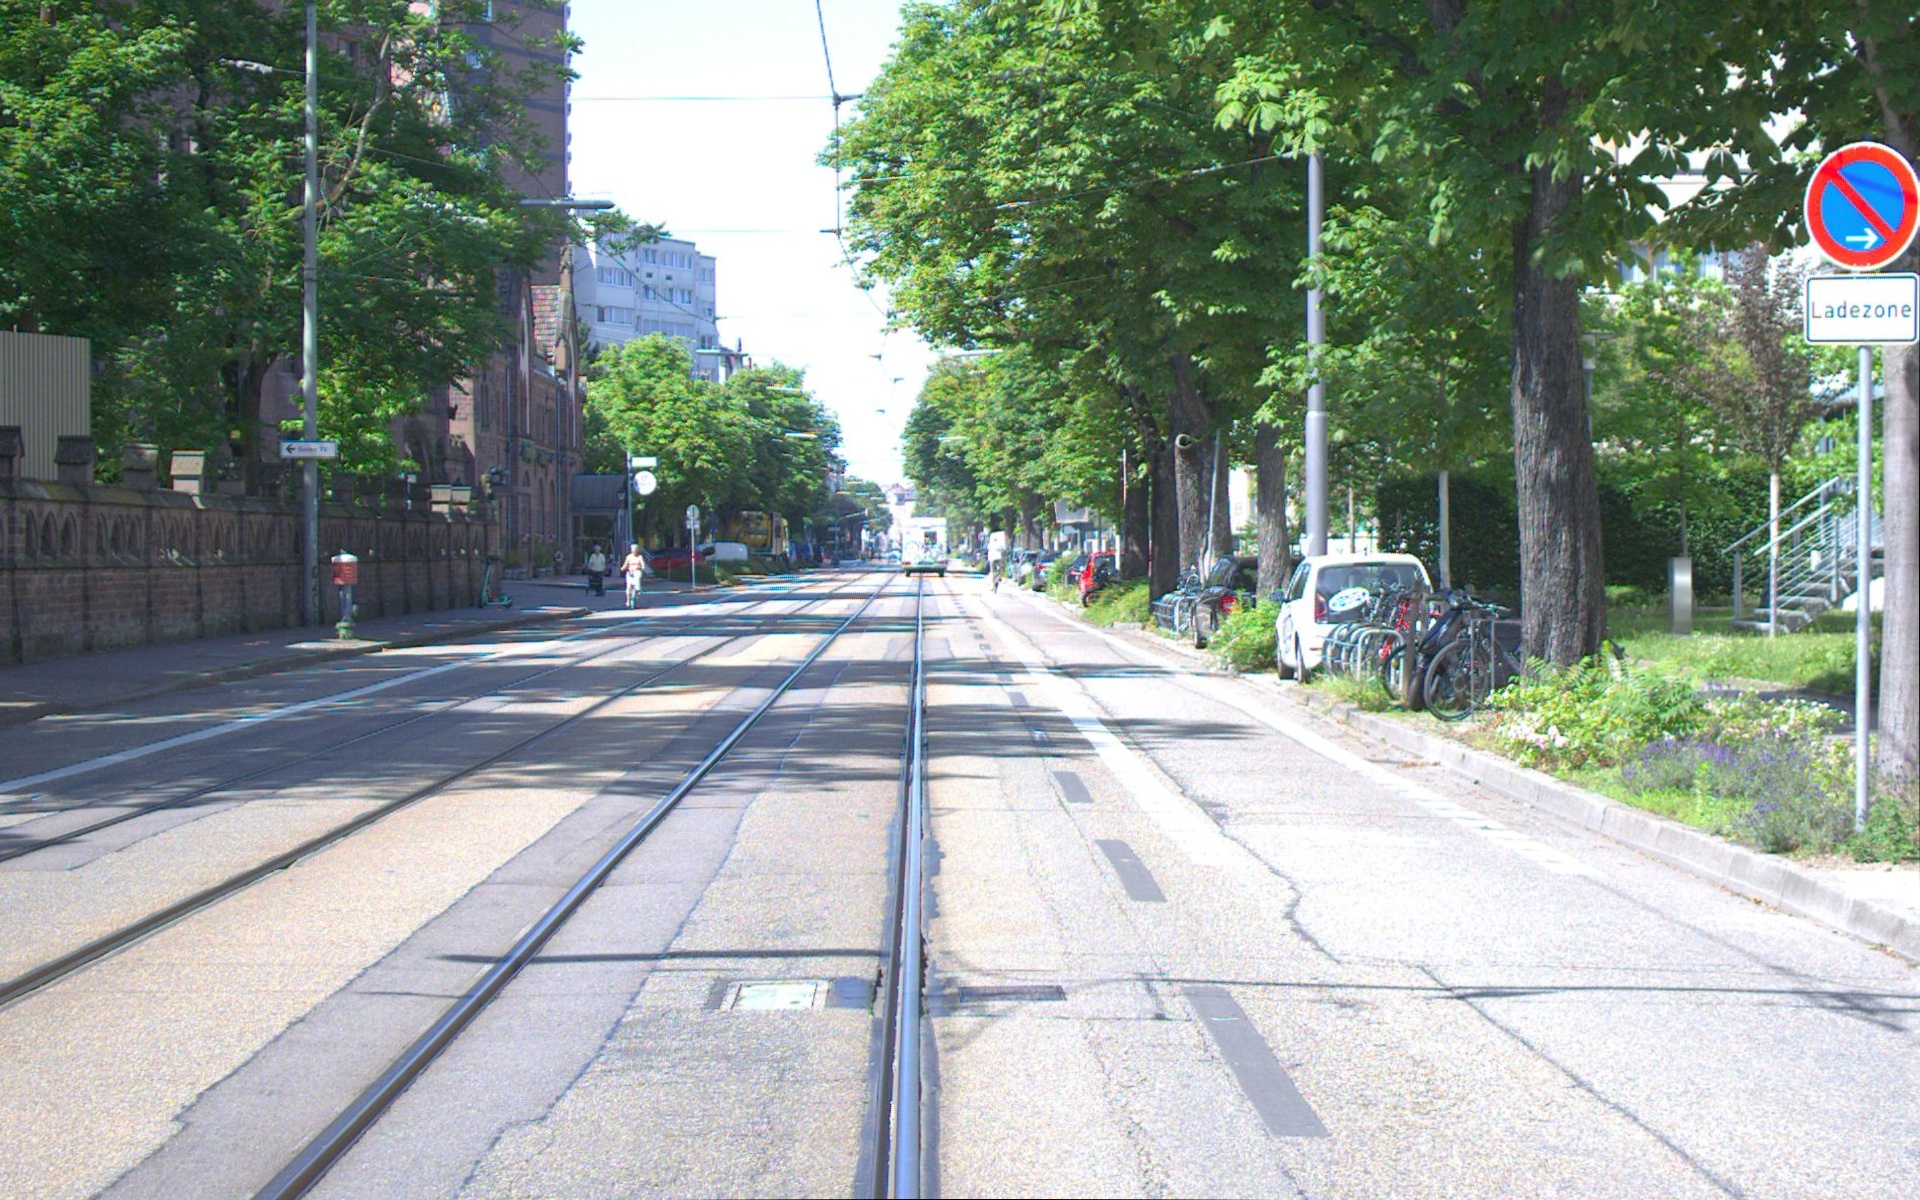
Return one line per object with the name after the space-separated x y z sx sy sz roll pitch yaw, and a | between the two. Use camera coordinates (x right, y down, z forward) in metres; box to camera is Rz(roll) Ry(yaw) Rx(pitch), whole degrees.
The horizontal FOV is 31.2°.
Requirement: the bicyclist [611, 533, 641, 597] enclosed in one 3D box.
-8.966 -0.945 92.292 0.725 1.692 1.147 0 1 -1 | bicyclist

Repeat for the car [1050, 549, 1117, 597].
3.586 -0.810 100.459 1.629 1.350 3.902 -1 1 -2 | car

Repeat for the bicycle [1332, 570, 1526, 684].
4.599 0.260 33.792 1.792 1.082 0.726 0 1 -1 | bicycle

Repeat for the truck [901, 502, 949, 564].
-1.813 -3.440 176.283 2.402 3.098 6.037 0 1 -1 | truck

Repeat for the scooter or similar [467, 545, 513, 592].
-11.300 -0.770 82.708 0.333 1.125 1.184 0 1 39 | scooter or similar

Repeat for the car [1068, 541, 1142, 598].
3.805 -0.815 90.601 1.629 1.467 3.720 0 1 -2 | car

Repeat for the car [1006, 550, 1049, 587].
2.740 -1.303 140.032 1.630 1.467 4.114 0 1 0 | car

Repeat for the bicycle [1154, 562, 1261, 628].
4.161 -0.084 57.904 1.724 1.082 0.697 0 1 -1 | bicycle

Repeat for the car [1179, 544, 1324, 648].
4.332 -0.094 51.640 1.629 1.478 4.274 0 1 -2 | car

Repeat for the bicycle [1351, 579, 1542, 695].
4.645 0.347 32.907 1.724 1.082 0.639 0 1 -1 | bicycle

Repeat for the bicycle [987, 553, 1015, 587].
1.353 -1.013 114.121 0.855 1.106 2.139 0 1 -1 | bicycle

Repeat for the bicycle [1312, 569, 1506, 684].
4.564 0.260 35.000 1.872 1.137 0.686 0 1 -1 | bicycle

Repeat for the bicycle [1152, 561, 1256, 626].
4.196 -0.117 59.124 1.724 1.082 0.589 0 1 -1 | bicycle

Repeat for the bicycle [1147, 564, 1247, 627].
4.181 -0.084 60.752 1.724 1.082 0.478 0 1 -1 | bicycle

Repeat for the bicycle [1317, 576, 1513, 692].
4.530 0.331 34.322 1.849 1.128 0.680 0 1 -1 | bicycle

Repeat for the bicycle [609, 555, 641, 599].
-9.006 -0.614 92.375 0.662 1.150 2.014 0 1 0 | bicycle

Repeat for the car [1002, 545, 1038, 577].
2.887 -1.892 165.648 1.630 1.467 4.114 0 1 0 | car

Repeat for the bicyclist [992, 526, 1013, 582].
1.405 -1.529 114.290 0.636 1.865 1.024 0 1 -1 | bicyclist

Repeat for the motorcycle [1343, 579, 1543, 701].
4.417 0.364 31.504 1.724 1.082 0.658 0 1 -1 | motorcycle

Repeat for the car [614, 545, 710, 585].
-13.697 -1.595 157.957 3.988 1.804 1.889 -1 1 -37 | car

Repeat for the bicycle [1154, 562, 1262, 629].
4.126 -0.080 57.245 1.724 1.082 0.629 0 1 -1 | bicycle

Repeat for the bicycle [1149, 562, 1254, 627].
4.112 -0.098 58.550 1.724 1.082 0.570 0 1 -1 | bicycle

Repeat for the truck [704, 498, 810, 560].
-12.921 -4.489 219.606 2.816 3.846 9.989 0 1 21 | truck

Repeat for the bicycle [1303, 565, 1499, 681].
4.561 0.228 35.646 1.904 1.165 0.819 0 1 -1 | bicycle

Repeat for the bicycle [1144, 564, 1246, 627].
4.116 -0.081 60.258 1.724 1.082 0.615 0 1 -1 | bicycle

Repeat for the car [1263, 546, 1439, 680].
4.436 0.116 39.452 1.630 1.467 3.630 0 1 0 | car

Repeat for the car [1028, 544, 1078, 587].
3.279 -1.239 122.140 1.630 1.467 4.114 0 1 0 | car

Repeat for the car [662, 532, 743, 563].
-14.302 -2.916 190.919 3.987 1.744 2.000 -1 1 -31 | car

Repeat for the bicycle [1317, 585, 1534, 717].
3.953 0.425 29.284 1.724 1.082 0.789 0 1 -1 | bicycle

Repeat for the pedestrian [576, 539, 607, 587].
-11.638 -1.175 108.442 0.883 1.507 1.476 0 1 -9 | pedestrian
